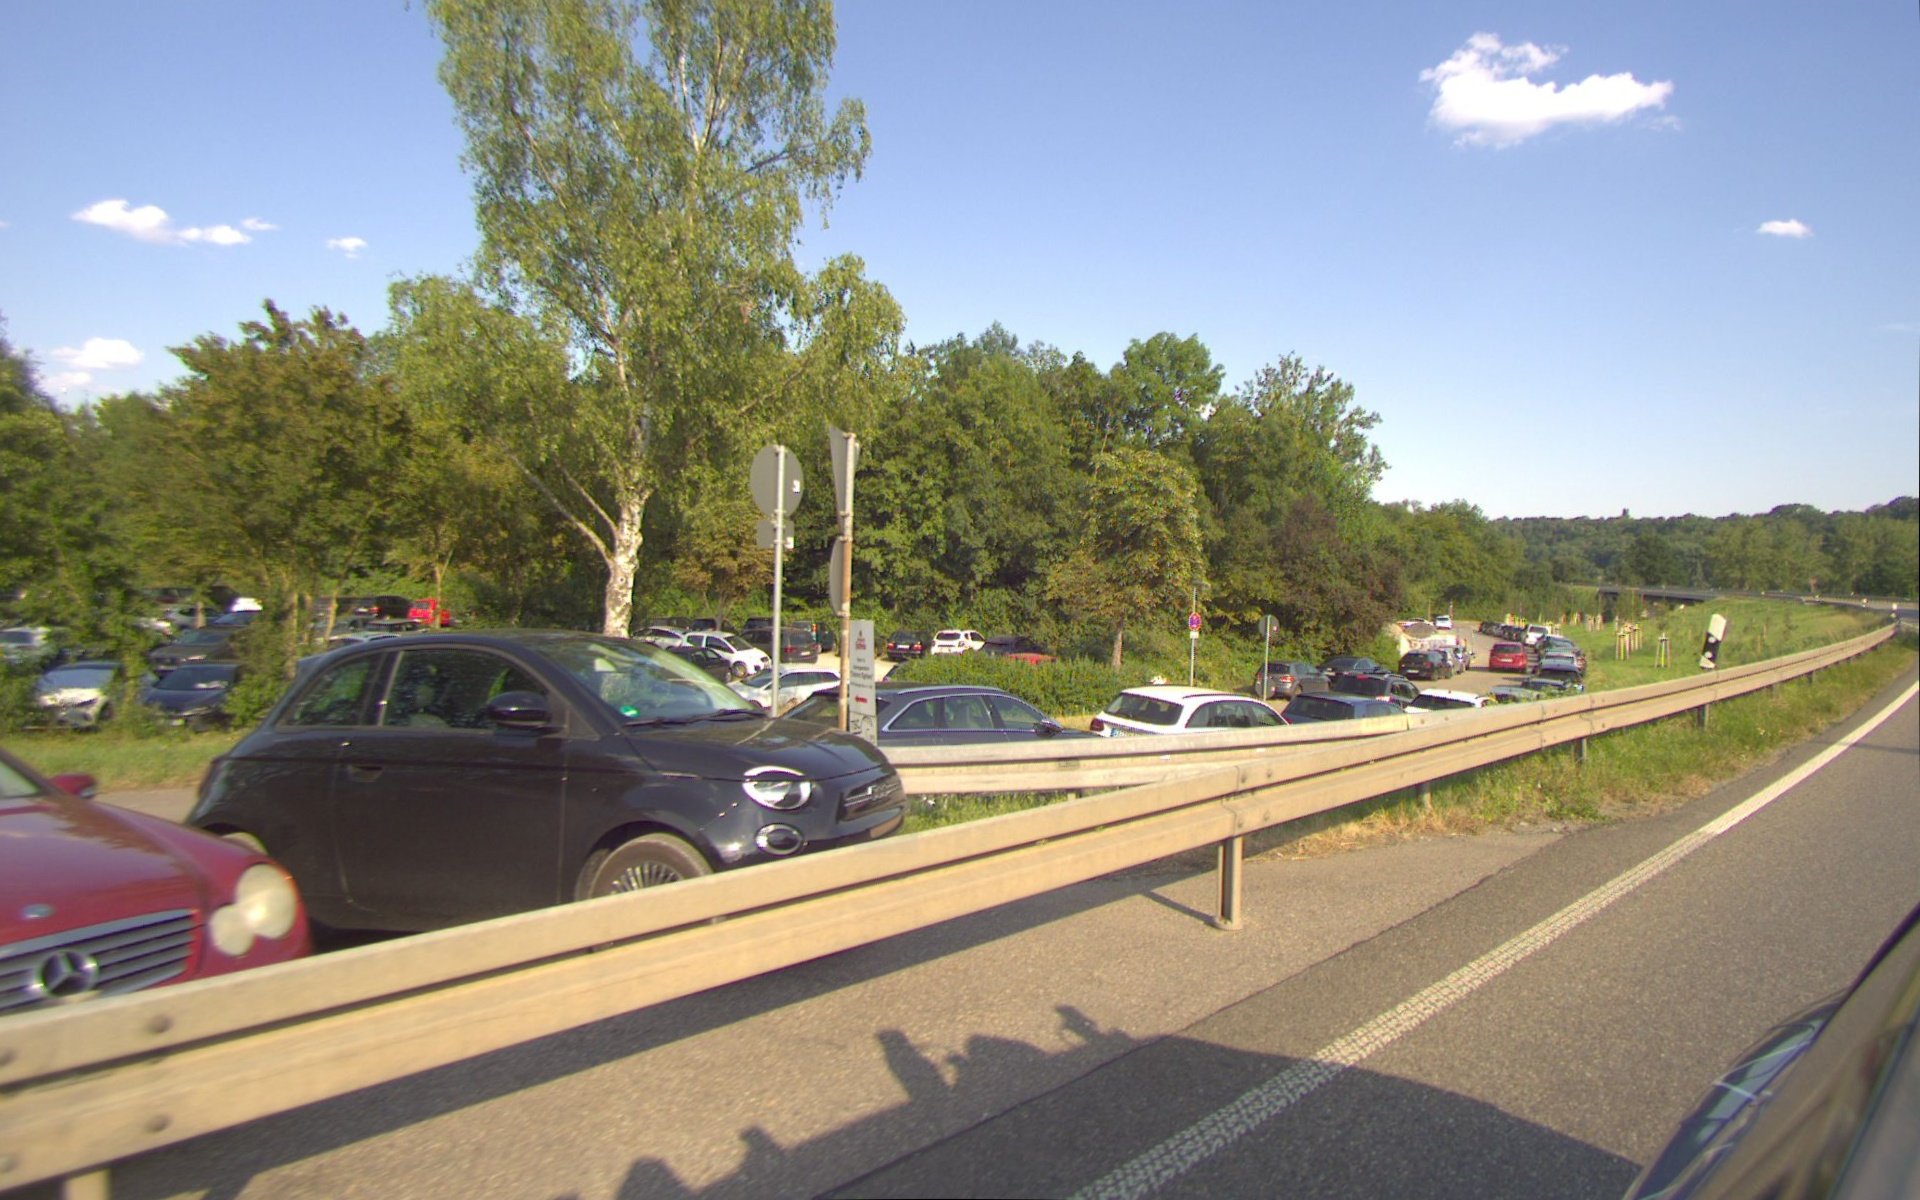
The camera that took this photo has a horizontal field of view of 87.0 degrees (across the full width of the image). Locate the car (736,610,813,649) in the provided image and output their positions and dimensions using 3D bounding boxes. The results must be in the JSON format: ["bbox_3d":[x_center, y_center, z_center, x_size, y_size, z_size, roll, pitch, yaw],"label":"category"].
[{"bbox_3d":[-9.152,1.403,50.227,1.780,1.712,4.569,1,1,18],"label":"car"}]

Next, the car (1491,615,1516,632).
[{"bbox_3d":[62.003,2.638,115.554,1.801,1.679,4.230,3,1,19],"label":"car"}]

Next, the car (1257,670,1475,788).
[{"bbox_3d":[7.525,2.219,18.510,4.703,1.578,1.894,2,2,-44],"label":"car"}]

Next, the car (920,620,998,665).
[{"bbox_3d":[0.019,1.847,45.173,1.784,1.712,4.558,1,1,24],"label":"car"}]

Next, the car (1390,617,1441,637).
[{"bbox_3d":[42.651,2.551,94.905,4.191,1.764,1.822,0,0,19],"label":"car"}]

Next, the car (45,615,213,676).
[{"bbox_3d":[-27.257,1.432,33.425,1.770,1.712,4.596,1,1,1],"label":"car"}]

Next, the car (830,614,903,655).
[{"bbox_3d":[-4.373,1.574,47.967,1.780,1.712,4.569,1,1,18],"label":"car"}]

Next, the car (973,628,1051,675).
[{"bbox_3d":[2.282,2.136,43.263,1.784,1.712,4.558,1,1,24],"label":"car"}]

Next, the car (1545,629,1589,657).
[{"bbox_3d":[42.347,2.953,70.718,1.878,1.578,4.744,5,2,23],"label":"car"}]

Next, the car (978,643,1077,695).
[{"bbox_3d":[2.449,2.502,37.406,1.623,1.562,3.776,0,1,-36],"label":"car"}]

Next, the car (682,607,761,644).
[{"bbox_3d":[-11.984,1.246,51.211,1.780,1.712,4.569,1,1,18],"label":"car"}]

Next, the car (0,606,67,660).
[{"bbox_3d":[-32.617,1.122,33.650,1.769,1.712,4.596,1,1,1],"label":"car"}]

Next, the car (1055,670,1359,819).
[{"bbox_3d":[3.748,1.952,14.840,4.698,1.578,1.896,3,2,-41],"label":"car"}]

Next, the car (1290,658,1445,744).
[{"bbox_3d":[10.360,2.457,25.558,1.894,1.695,4.705,6,2,44],"label":"car"}]

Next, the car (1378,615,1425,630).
[{"bbox_3d":[47.155,2.391,108.258,4.351,1.474,1.727,1,0,15],"label":"car"}]

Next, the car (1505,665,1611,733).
[{"bbox_3d":[18.456,2.967,31.131,1.892,1.578,4.710,5,2,41],"label":"car"}]

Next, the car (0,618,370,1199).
[{"bbox_3d":[-4.149,0.858,3.145,4.270,1.418,1.709,-3,-3,20],"label":"car"}]

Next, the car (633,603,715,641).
[{"bbox_3d":[-14.480,1.079,51.480,1.780,1.712,4.569,1,1,18],"label":"car"}]

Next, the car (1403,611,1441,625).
[{"bbox_3d":[56.485,2.240,123.749,4.201,1.474,1.604,2,1,24],"label":"car"}]

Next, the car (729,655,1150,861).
[{"bbox_3d":[-0.021,1.537,11.395,1.893,1.578,4.705,6,2,44],"label":"car"}]

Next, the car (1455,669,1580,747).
[{"bbox_3d":[15.148,2.831,27.378,1.892,1.578,4.710,5,2,41],"label":"car"}]

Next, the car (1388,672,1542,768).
[{"bbox_3d":[11.497,2.598,22.884,1.892,1.578,4.710,5,2,41],"label":"car"}]

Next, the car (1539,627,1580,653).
[{"bbox_3d":[44.746,2.947,75.596,1.878,1.578,4.744,5,2,23],"label":"car"}]

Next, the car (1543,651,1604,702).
[{"bbox_3d":[24.846,3.028,41.045,1.884,1.578,4.729,5,2,31],"label":"car"}]

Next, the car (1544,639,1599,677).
[{"bbox_3d":[30.303,2.836,50.251,1.879,1.579,4.738,1,1,26],"label":"car"}]

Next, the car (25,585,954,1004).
[{"bbox_3d":[-2.335,0.832,5.175,4.265,1.529,1.711,-3,-3,17],"label":"car"}]

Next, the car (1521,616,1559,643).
[{"bbox_3d":[50.846,2.538,88.799,2.103,2.042,5.337,5,2,23],"label":"car"}]

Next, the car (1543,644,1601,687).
[{"bbox_3d":[27.690,2.910,45.701,1.887,1.578,4.722,5,2,34],"label":"car"}]

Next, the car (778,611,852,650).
[{"bbox_3d":[-7.060,1.450,49.886,1.780,1.712,4.569,1,1,18],"label":"car"}]

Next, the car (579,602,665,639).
[{"bbox_3d":[-17.089,1.016,51.447,1.780,1.712,4.569,1,1,18],"label":"car"}]

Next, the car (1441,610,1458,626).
[{"bbox_3d":[61.662,2.237,127.508,1.642,1.687,4.671,1,2,24],"label":"car"}]

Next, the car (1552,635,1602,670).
[{"bbox_3d":[33.478,2.827,55.033,1.879,1.579,4.738,1,1,26],"label":"car"}]
